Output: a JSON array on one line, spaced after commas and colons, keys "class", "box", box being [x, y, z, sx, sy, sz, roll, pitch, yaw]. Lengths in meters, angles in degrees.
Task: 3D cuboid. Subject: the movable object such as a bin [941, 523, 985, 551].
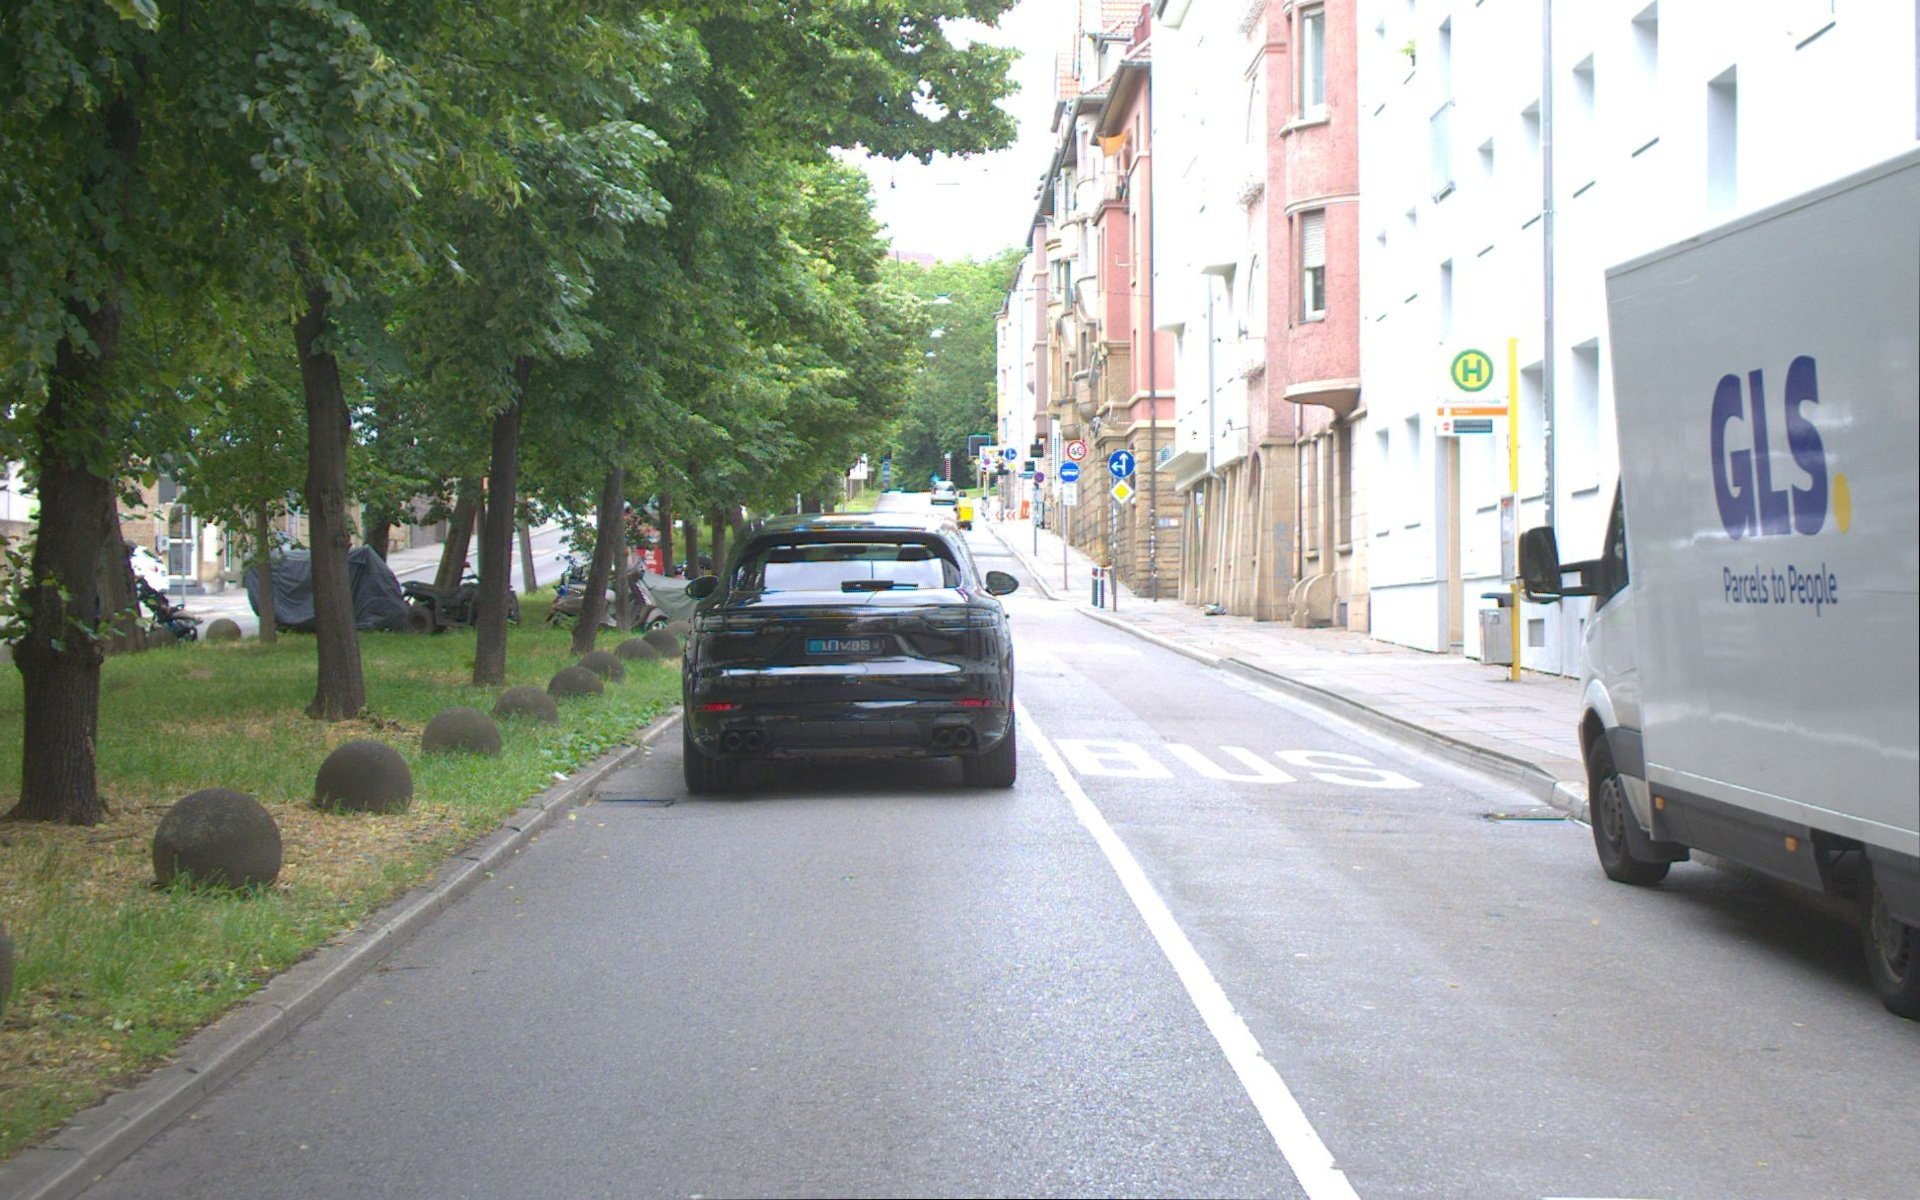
[{"class": "movable object such as a bin", "box": [0.138, -2.931, 159.406, 1.237, 1.270, 1.846, 0, 1, -34]}]

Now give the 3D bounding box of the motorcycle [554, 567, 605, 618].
[{"class": "motorcycle", "box": [-8.551, -0.157, 77.375, 0.900, 1.103, 2.251, -1, -1, 0]}]

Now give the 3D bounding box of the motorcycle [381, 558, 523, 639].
[{"class": "motorcycle", "box": [-7.877, -0.025, 53.372, 2.029, 1.231, 0.896, 0, 1, 5]}]

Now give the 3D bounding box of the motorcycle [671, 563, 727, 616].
[{"class": "motorcycle", "box": [-5.882, -0.242, 77.515, 1.062, 1.144, 2.448, -1, 1, 0]}]

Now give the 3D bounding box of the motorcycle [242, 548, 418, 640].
[{"class": "motorcycle", "box": [-9.187, -0.093, 50.215, 2.382, 1.312, 1.046, 0, 1, -2]}]

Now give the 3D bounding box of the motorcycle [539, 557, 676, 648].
[{"class": "motorcycle", "box": [-5.149, 0.045, 50.293, 1.924, 1.292, 0.893, -1, -1, -2]}]

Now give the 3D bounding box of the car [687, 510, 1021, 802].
[{"class": "car", "box": [-0.684, 0.294, 21.665, 1.903, 1.660, 4.136, 0, 1, -2]}]

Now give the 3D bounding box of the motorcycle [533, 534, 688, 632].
[{"class": "motorcycle", "box": [-5.184, -0.253, 51.048, 2.194, 1.434, 0.874, 0, 1, 2]}]

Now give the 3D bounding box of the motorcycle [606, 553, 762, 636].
[{"class": "motorcycle", "box": [-4.243, -0.090, 52.974, 2.355, 1.231, 1.034, 0, 3, -2]}]

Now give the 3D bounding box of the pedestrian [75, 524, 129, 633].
[{"class": "pedestrian", "box": [-12.779, -0.323, 51.227, 0.634, 1.607, 0.764, 1, 1, -3]}]

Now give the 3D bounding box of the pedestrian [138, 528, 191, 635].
[{"class": "pedestrian", "box": [-12.045, -0.285, 52.051, 0.662, 1.610, 0.579, 0, 1, 1]}]

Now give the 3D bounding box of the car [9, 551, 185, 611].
[{"class": "car", "box": [-22.089, -0.484, 88.090, 3.987, 1.492, 2.000, 0, 1, -1]}]

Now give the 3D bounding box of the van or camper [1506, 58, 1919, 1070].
[{"class": "van or camper", "box": [3.881, -0.142, 12.971, 2.480, 2.793, 7.238, 0, 1, 0]}]
